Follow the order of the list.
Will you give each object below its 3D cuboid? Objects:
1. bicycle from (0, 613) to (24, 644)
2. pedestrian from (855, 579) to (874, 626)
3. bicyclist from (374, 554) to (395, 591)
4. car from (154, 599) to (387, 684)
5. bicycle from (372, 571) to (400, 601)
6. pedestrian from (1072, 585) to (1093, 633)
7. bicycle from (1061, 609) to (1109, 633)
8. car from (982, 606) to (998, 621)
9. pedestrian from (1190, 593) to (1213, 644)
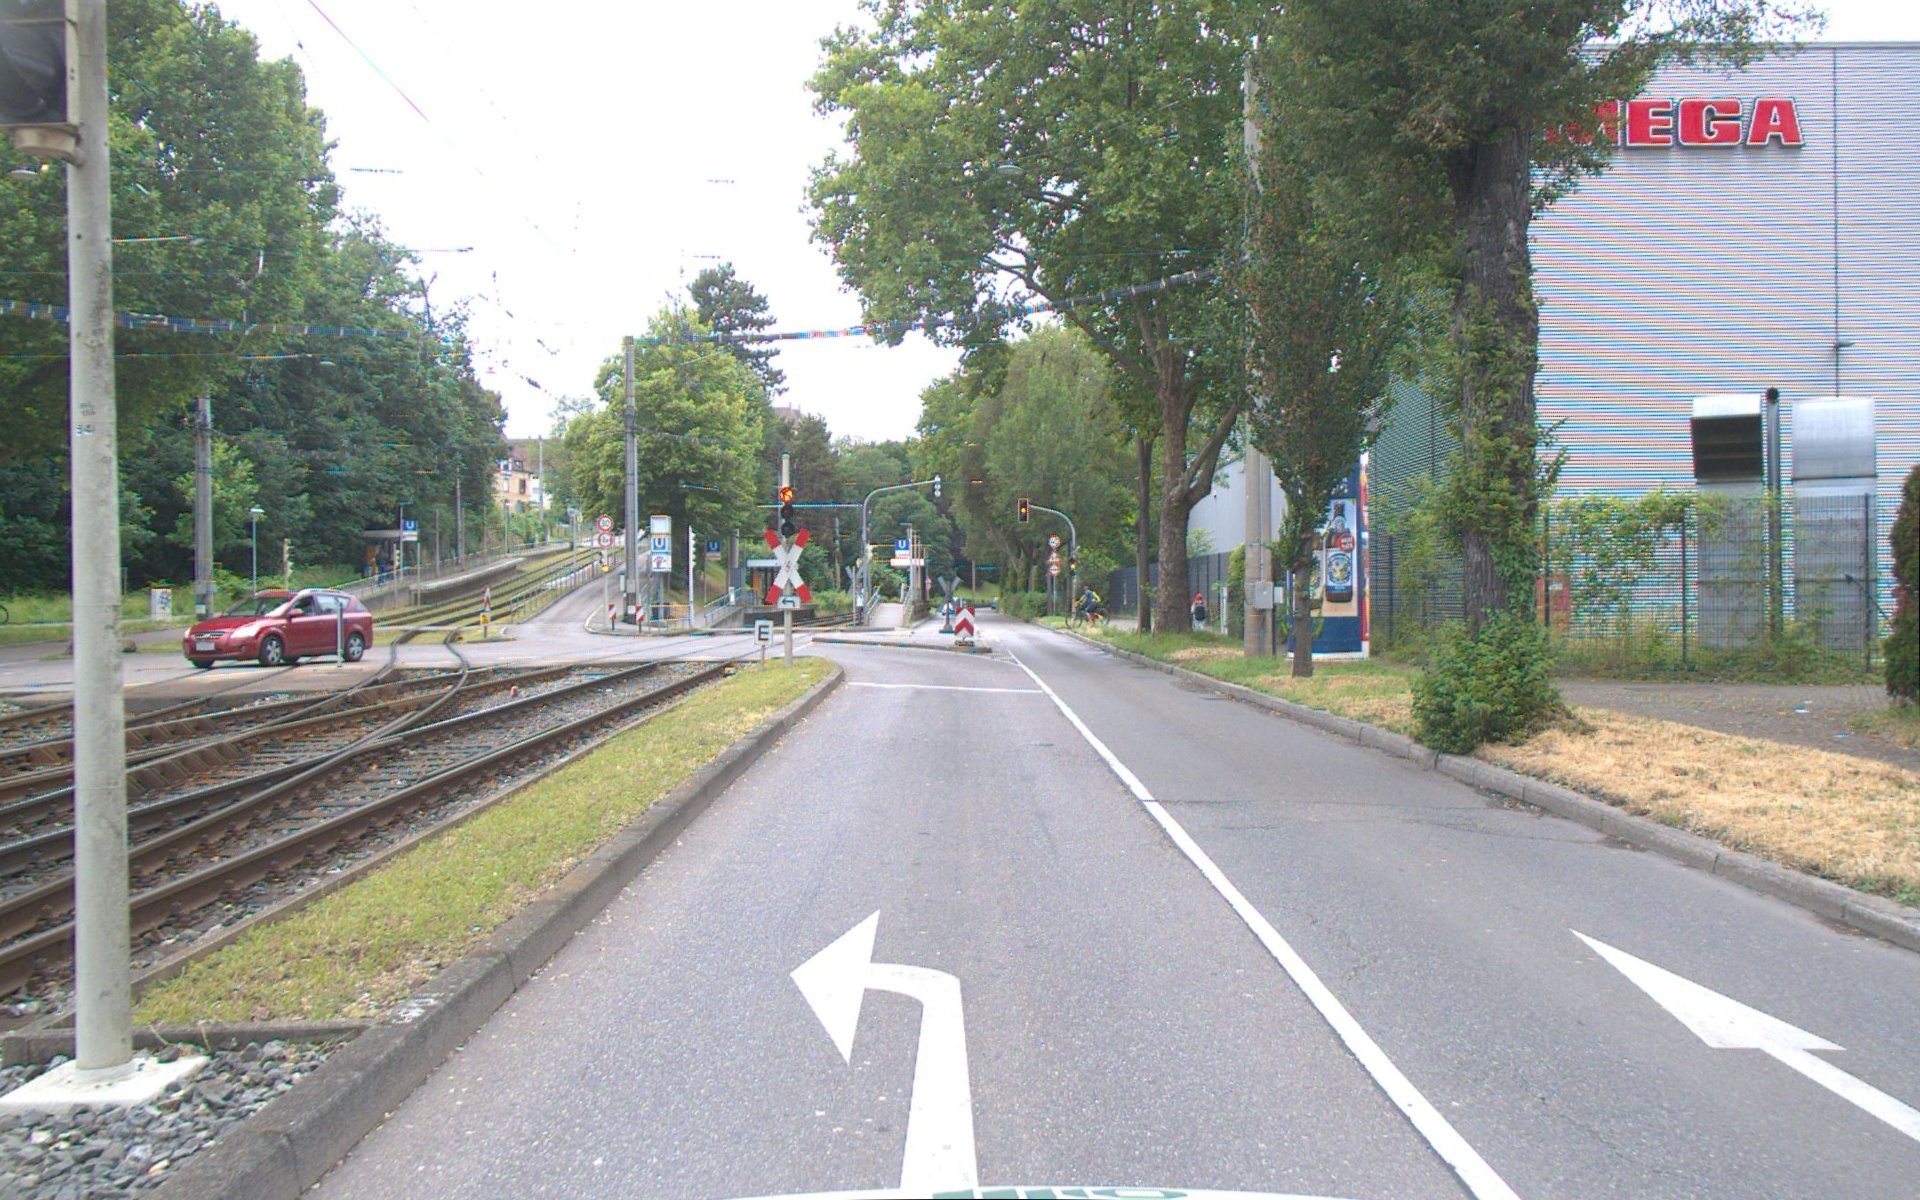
[{"bbox_3d":[-33.465,0.985,57.830,1.621,1.030,0.672,1,-1,37],"label":"bicycle"},{"bbox_3d":[-3.864,0.084,67.111,0.753,1.885,0.909,0,0,-4],"label":"pedestrian"},{"bbox_3d":[-29.878,-1.425,85.865,0.806,1.881,1.050,0,3,-8],"label":"bicyclist"},{"bbox_3d":[-13.919,0.784,33.689,1.951,1.542,4.503,1,0,17],"label":"car"},{"bbox_3d":[-29.924,-0.749,86.256,0.808,1.366,2.992,-1,3,-8],"label":"bicycle"},{"bbox_3d":[5.263,0.395,71.020,0.911,2.049,0.668,0,0,4],"label":"pedestrian"},{"bbox_3d":[5.352,0.904,71.034,2.030,1.024,0.668,0,0,6],"label":"bicycle"},{"bbox_3d":[4.103,1.795,223.695,1.953,1.847,3.999,-1,1,-2],"label":"car"},{"bbox_3d":[7.459,0.570,51.163,0.652,1.580,0.935,0,0,5],"label":"pedestrian"}]
